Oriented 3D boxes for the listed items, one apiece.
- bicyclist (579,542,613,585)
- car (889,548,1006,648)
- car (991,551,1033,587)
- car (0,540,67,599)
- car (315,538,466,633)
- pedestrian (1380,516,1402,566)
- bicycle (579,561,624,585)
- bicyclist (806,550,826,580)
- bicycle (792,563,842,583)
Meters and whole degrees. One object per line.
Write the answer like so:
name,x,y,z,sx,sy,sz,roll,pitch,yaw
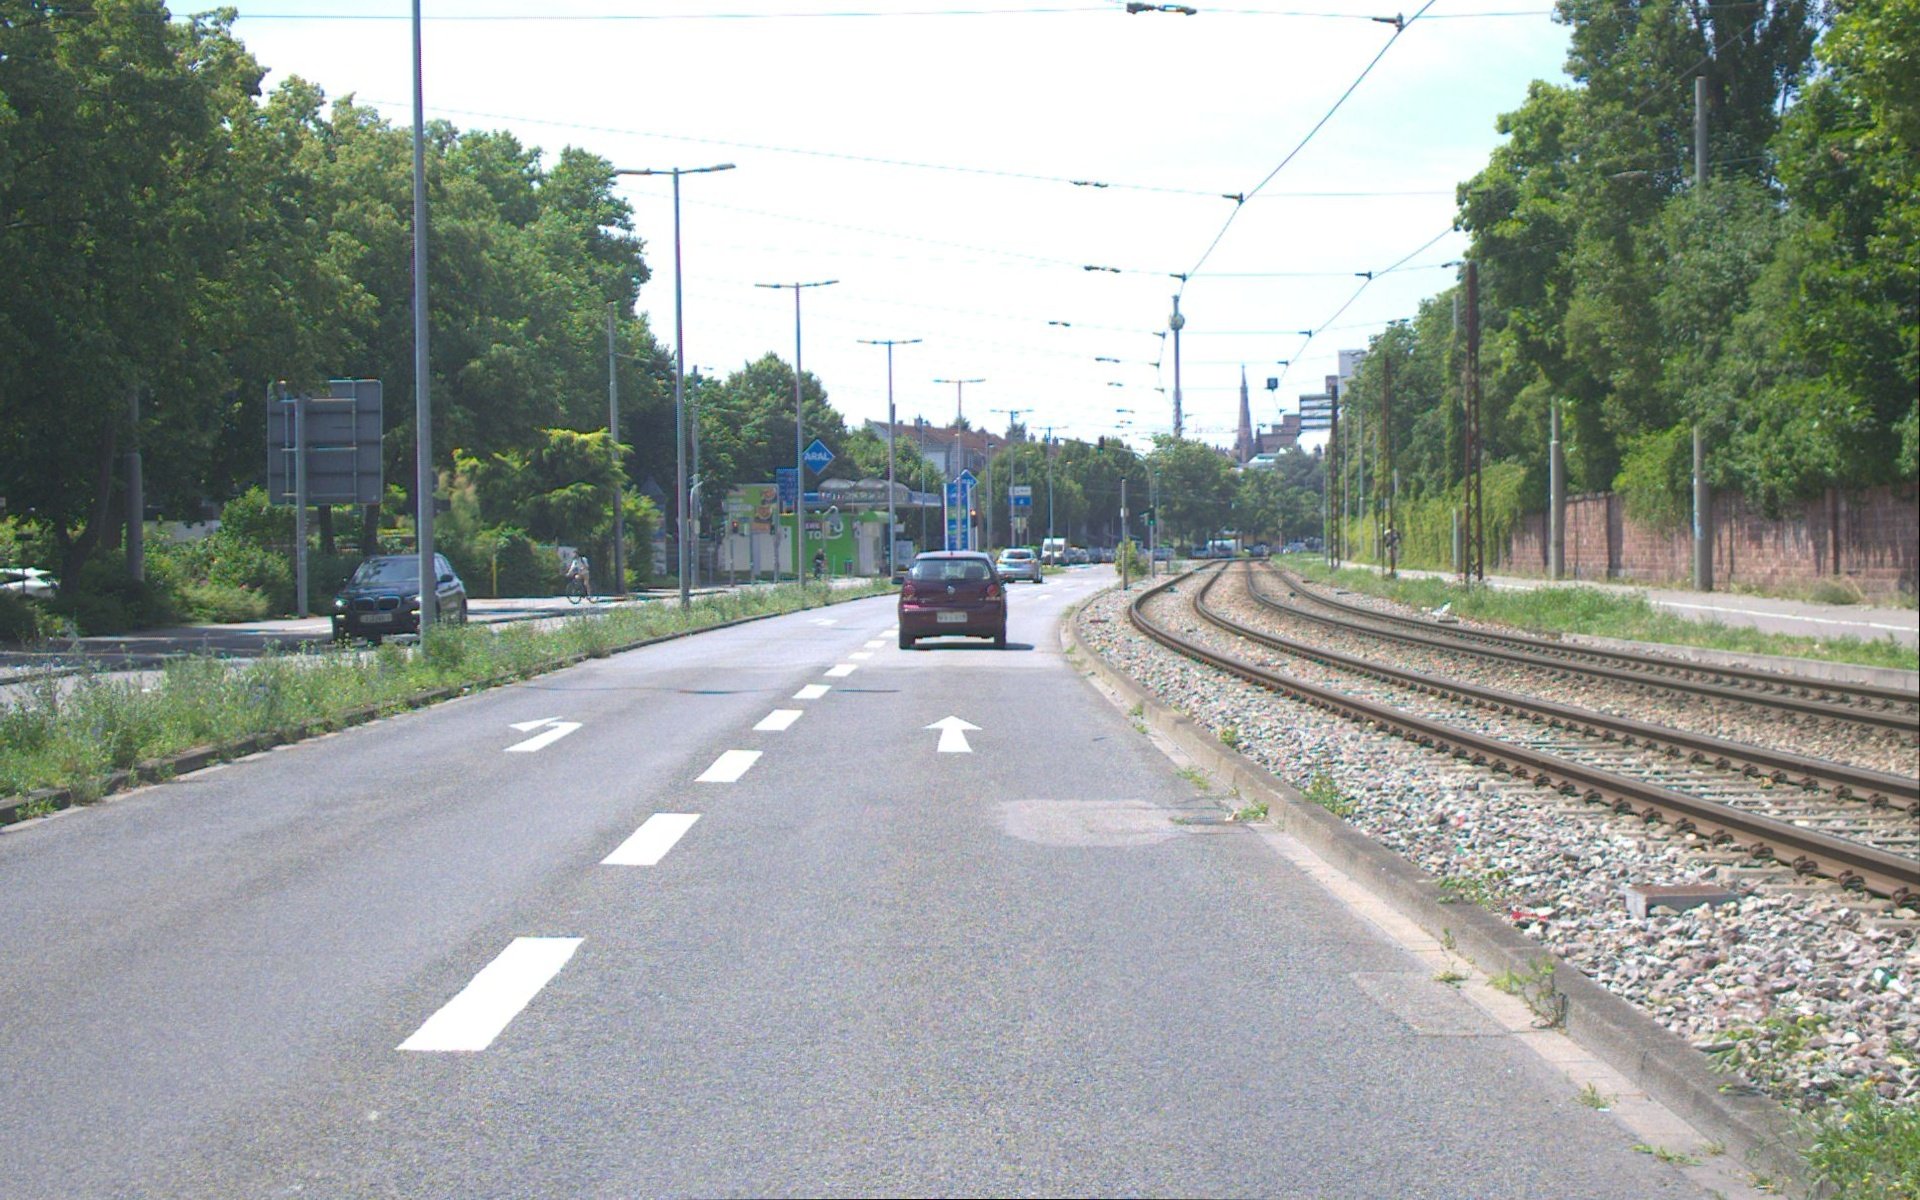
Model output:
bicyclist,-12.145,-1.215,114.636,0.961,1.398,0.491,-2,1,-36
car,-0.162,-0.024,52.463,1.703,1.472,3.716,0,0,1
car,2.199,-1.324,146.453,1.703,1.475,3.716,0,0,0
car,-30.318,-0.922,106.854,4.665,1.752,2.000,-2,1,-5
car,-10.511,-0.281,63.797,1.923,1.620,4.756,-2,1,0
pedestrian,14.805,-2.036,118.172,0.661,1.720,0.816,-1,1,4
bicycle,-11.967,-0.904,114.777,1.428,0.771,0.497,-2,1,-37
bicyclist,-7.665,-1.881,183.155,0.944,1.588,1.088,0,0,-9
bicycle,-7.618,-1.411,183.135,2.549,1.034,1.088,0,0,-9
